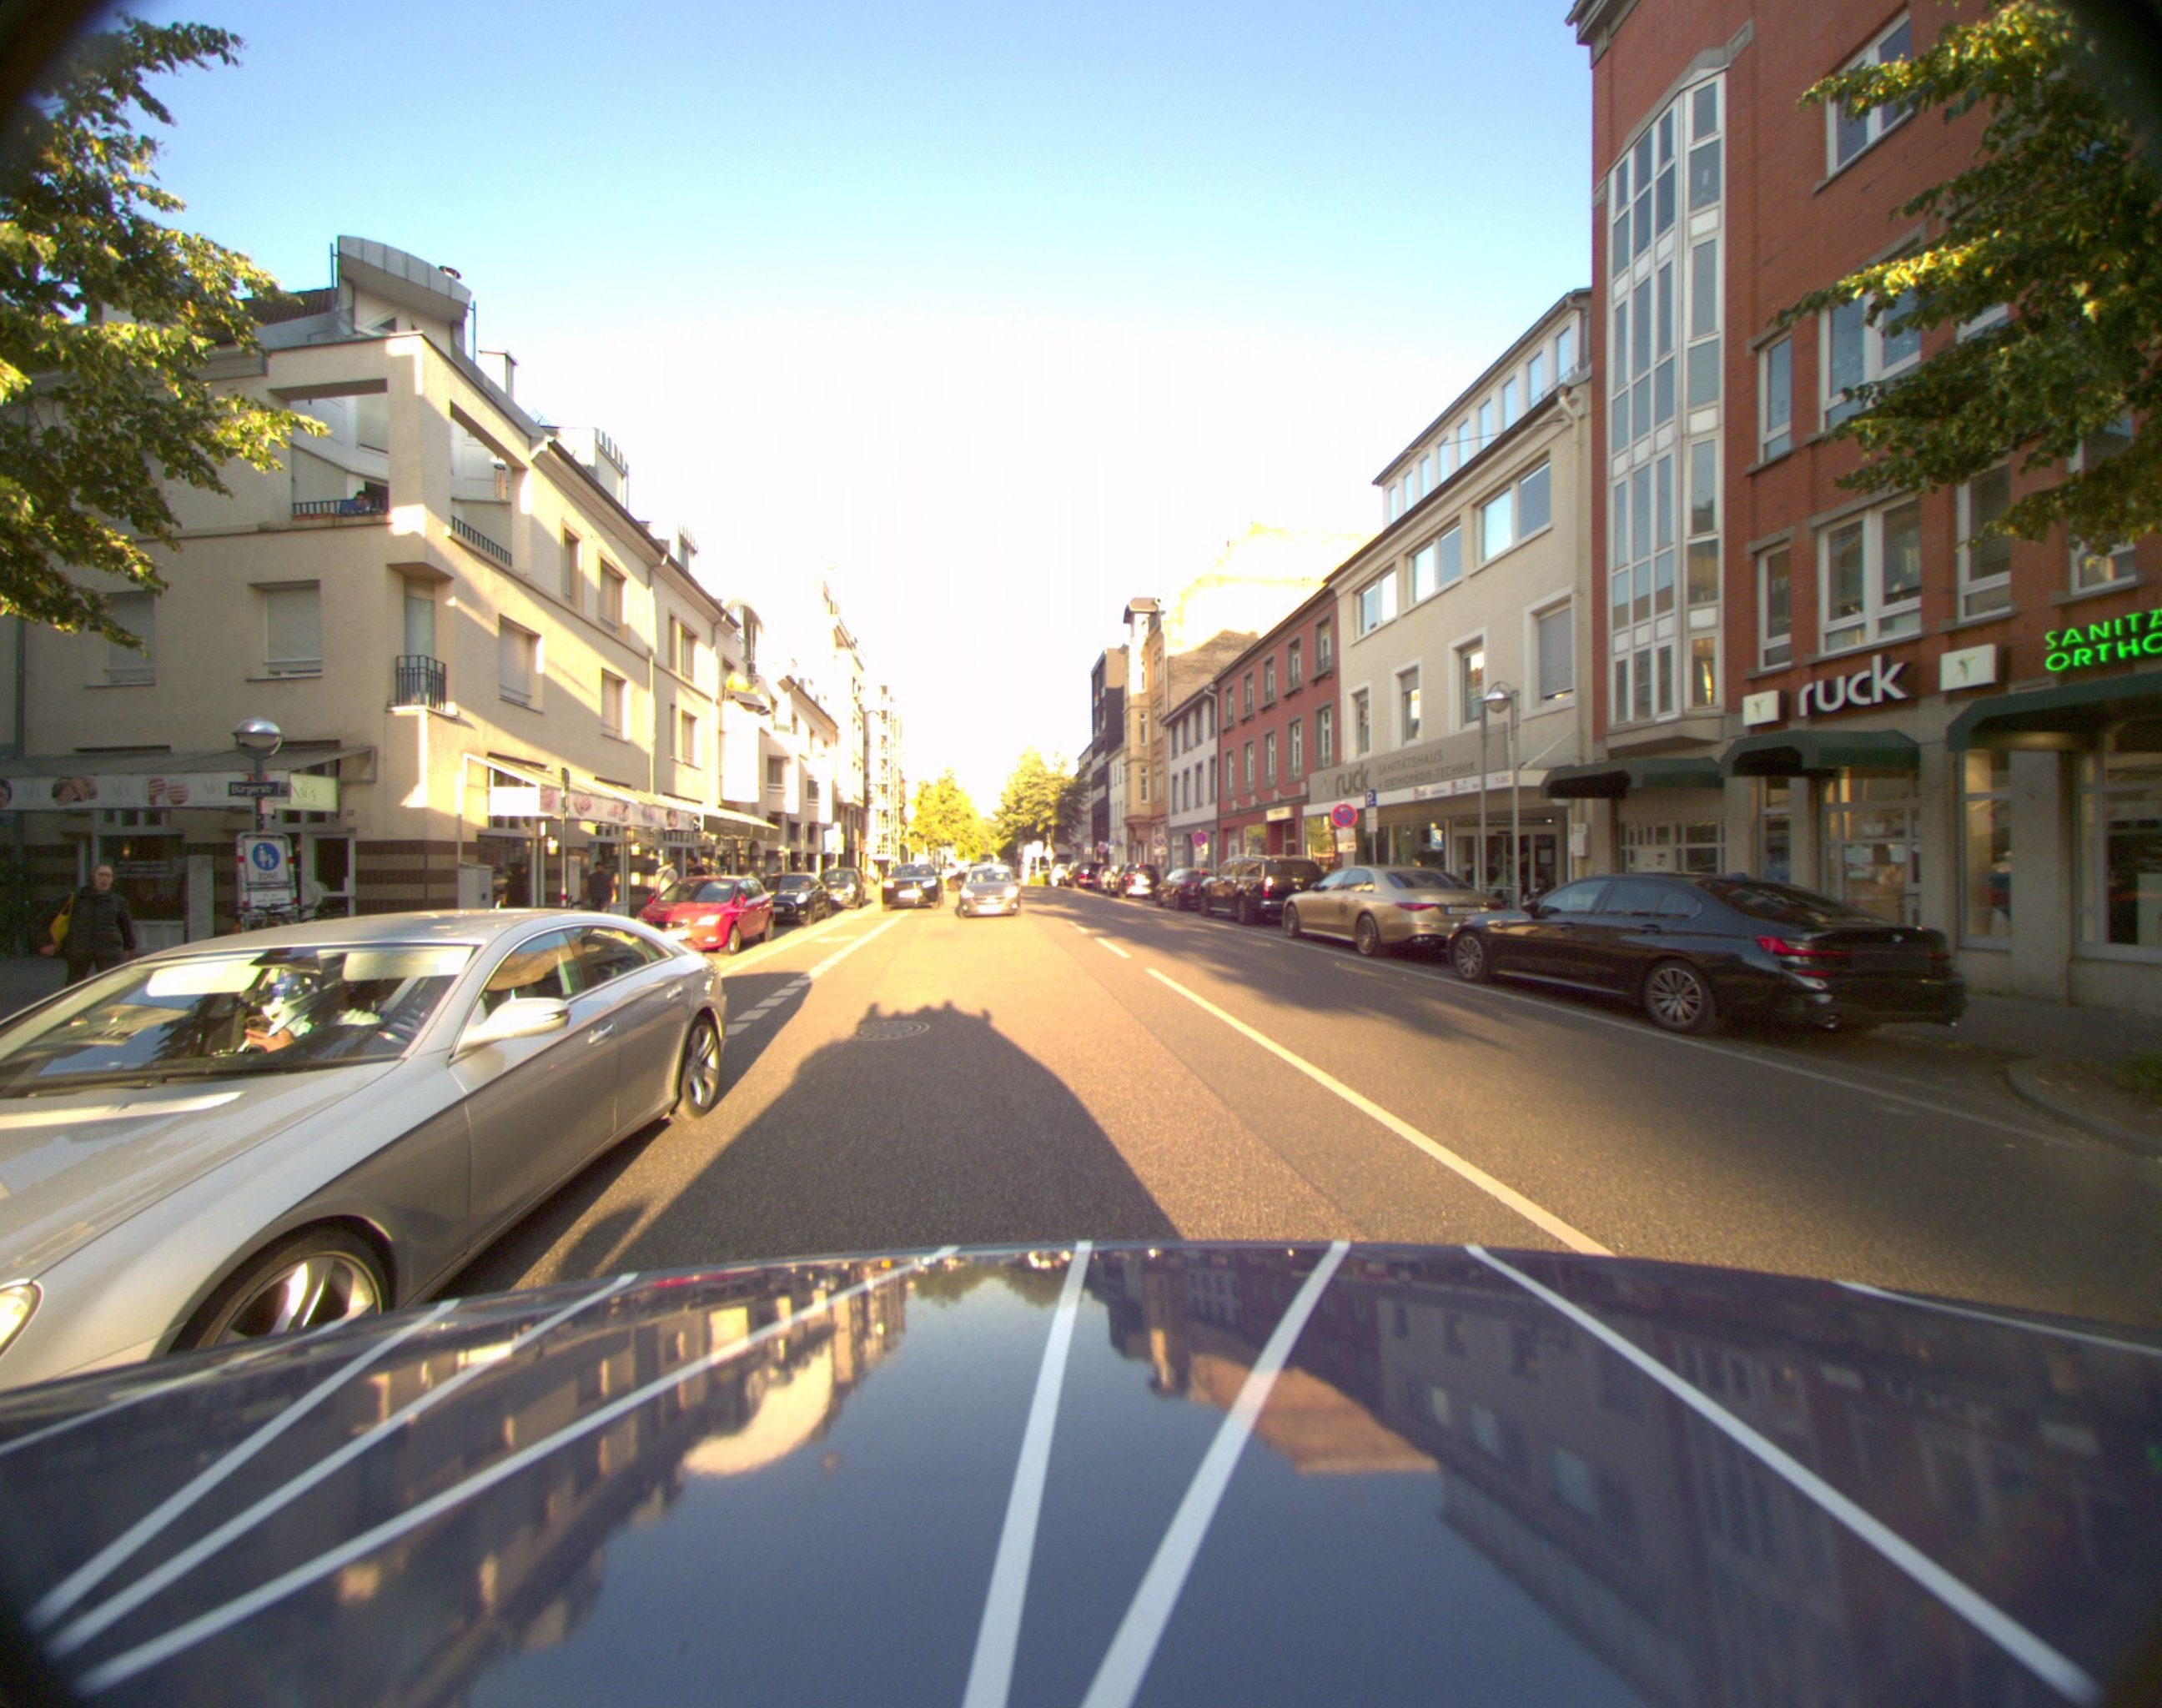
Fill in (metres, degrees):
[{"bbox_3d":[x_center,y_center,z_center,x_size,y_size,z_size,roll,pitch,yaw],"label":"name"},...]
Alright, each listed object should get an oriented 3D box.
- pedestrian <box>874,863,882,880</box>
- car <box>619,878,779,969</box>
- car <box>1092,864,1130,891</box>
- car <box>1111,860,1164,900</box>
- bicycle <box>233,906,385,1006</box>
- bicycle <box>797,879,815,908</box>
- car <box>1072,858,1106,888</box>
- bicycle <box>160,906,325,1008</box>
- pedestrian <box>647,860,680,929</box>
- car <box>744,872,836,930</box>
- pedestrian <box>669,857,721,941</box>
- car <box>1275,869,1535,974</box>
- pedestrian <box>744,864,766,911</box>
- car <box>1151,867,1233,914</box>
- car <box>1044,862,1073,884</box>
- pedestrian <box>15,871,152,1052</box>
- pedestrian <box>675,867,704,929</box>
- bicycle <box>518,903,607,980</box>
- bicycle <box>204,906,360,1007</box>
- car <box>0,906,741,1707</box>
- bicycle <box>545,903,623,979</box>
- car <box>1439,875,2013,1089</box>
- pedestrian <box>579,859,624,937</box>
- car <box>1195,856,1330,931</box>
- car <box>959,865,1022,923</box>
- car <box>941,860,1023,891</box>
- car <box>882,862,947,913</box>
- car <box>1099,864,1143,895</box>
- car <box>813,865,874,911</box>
[{"bbox_3d":[-15.739,1.345,59.034,0.492,1.256,0.421,-2,1,-7],"label":"pedestrian"},{"bbox_3d":[-7.203,1.224,14.751,1.594,1.425,3.923,1,0,-8],"label":"car"},{"bbox_3d":[1.687,1.349,44.133,1.674,1.448,3.563,2,-1,-6],"label":"car"},{"bbox_3d":[2.528,1.156,35.060,1.726,1.673,4.047,2,-1,-6],"label":"car"},{"bbox_3d":[-10.300,1.310,10.228,0.322,1.098,1.878,-1,0,-7],"label":"bicycle"},{"bbox_3d":[-10.642,1.513,29.383,0.296,1.079,1.462,-1,0,-7],"label":"bicycle"},{"bbox_3d":[0.450,1.147,47.883,1.674,1.763,3.563,2,-1,-6],"label":"car"},{"bbox_3d":[-11.096,1.311,10.150,0.322,1.098,1.878,-1,0,-7],"label":"bicycle"},{"bbox_3d":[-10.730,1.039,19.551,0.545,1.748,0.502,2,0,-8],"label":"pedestrian"},{"bbox_3d":[-8.197,1.274,21.744,1.622,1.425,3.923,0,0,-8],"label":"car"},{"bbox_3d":[-8.936,1.023,17.618,0.779,1.872,0.669,-4,1,-8],"label":"pedestrian"},{"bbox_3d":[5.345,1.031,13.508,2.000,1.463,5.104,1,-1,-6],"label":"car"},{"bbox_3d":[-12.652,1.298,29.470,0.449,1.789,0.578,-1,1,44],"label":"pedestrian"},{"bbox_3d":[3.760,1.223,26.456,1.707,1.429,4.012,2,-1,-8],"label":"car"},{"bbox_3d":[-1.653,1.351,54.856,1.674,1.512,3.562,1,0,-8],"label":"car"},{"bbox_3d":[-10.021,1.024,7.644,0.795,1.666,0.704,2,1,28],"label":"pedestrian"},{"bbox_3d":[-10.174,1.131,19.761,0.521,1.583,0.408,2,0,-8],"label":"pedestrian"},{"bbox_3d":[-8.383,1.373,12.364,0.315,1.040,1.881,0,0,-5],"label":"bicycle"},{"bbox_3d":[-10.608,1.309,10.185,0.291,1.098,1.886,-1,0,-7],"label":"bicycle"},{"bbox_3d":[-3.045,1.085,3.116,1.748,1.392,4.636,-2,0,-8],"label":"car"},{"bbox_3d":[-8.036,1.372,12.350,0.315,1.040,1.664,0,0,-5],"label":"bicycle"},{"bbox_3d":[5.873,1.019,7.870,1.726,1.464,4.538,2,-1,-7],"label":"car"},{"bbox_3d":[-10.970,0.993,17.401,0.631,1.739,0.669,0,0,-8],"label":"pedestrian"},{"bbox_3d":[4.664,0.961,20.346,1.726,1.768,4.935,1,-1,-9],"label":"car"},{"bbox_3d":[-2.650,1.081,22.062,1.623,1.465,3.686,-2,0,-8],"label":"car"},{"bbox_3d":[-5.628,1.209,43.278,4.288,1.665,1.738,0,0,12],"label":"car"},{"bbox_3d":[-5.942,1.134,27.486,1.891,1.626,4.224,-2,0,-8],"label":"car"},{"bbox_3d":[2.057,1.316,40.092,1.690,1.461,3.689,2,-1,-6],"label":"car"},{"bbox_3d":[-9.048,1.242,29.244,1.622,1.583,3.923,-1,0,-8],"label":"car"}]
